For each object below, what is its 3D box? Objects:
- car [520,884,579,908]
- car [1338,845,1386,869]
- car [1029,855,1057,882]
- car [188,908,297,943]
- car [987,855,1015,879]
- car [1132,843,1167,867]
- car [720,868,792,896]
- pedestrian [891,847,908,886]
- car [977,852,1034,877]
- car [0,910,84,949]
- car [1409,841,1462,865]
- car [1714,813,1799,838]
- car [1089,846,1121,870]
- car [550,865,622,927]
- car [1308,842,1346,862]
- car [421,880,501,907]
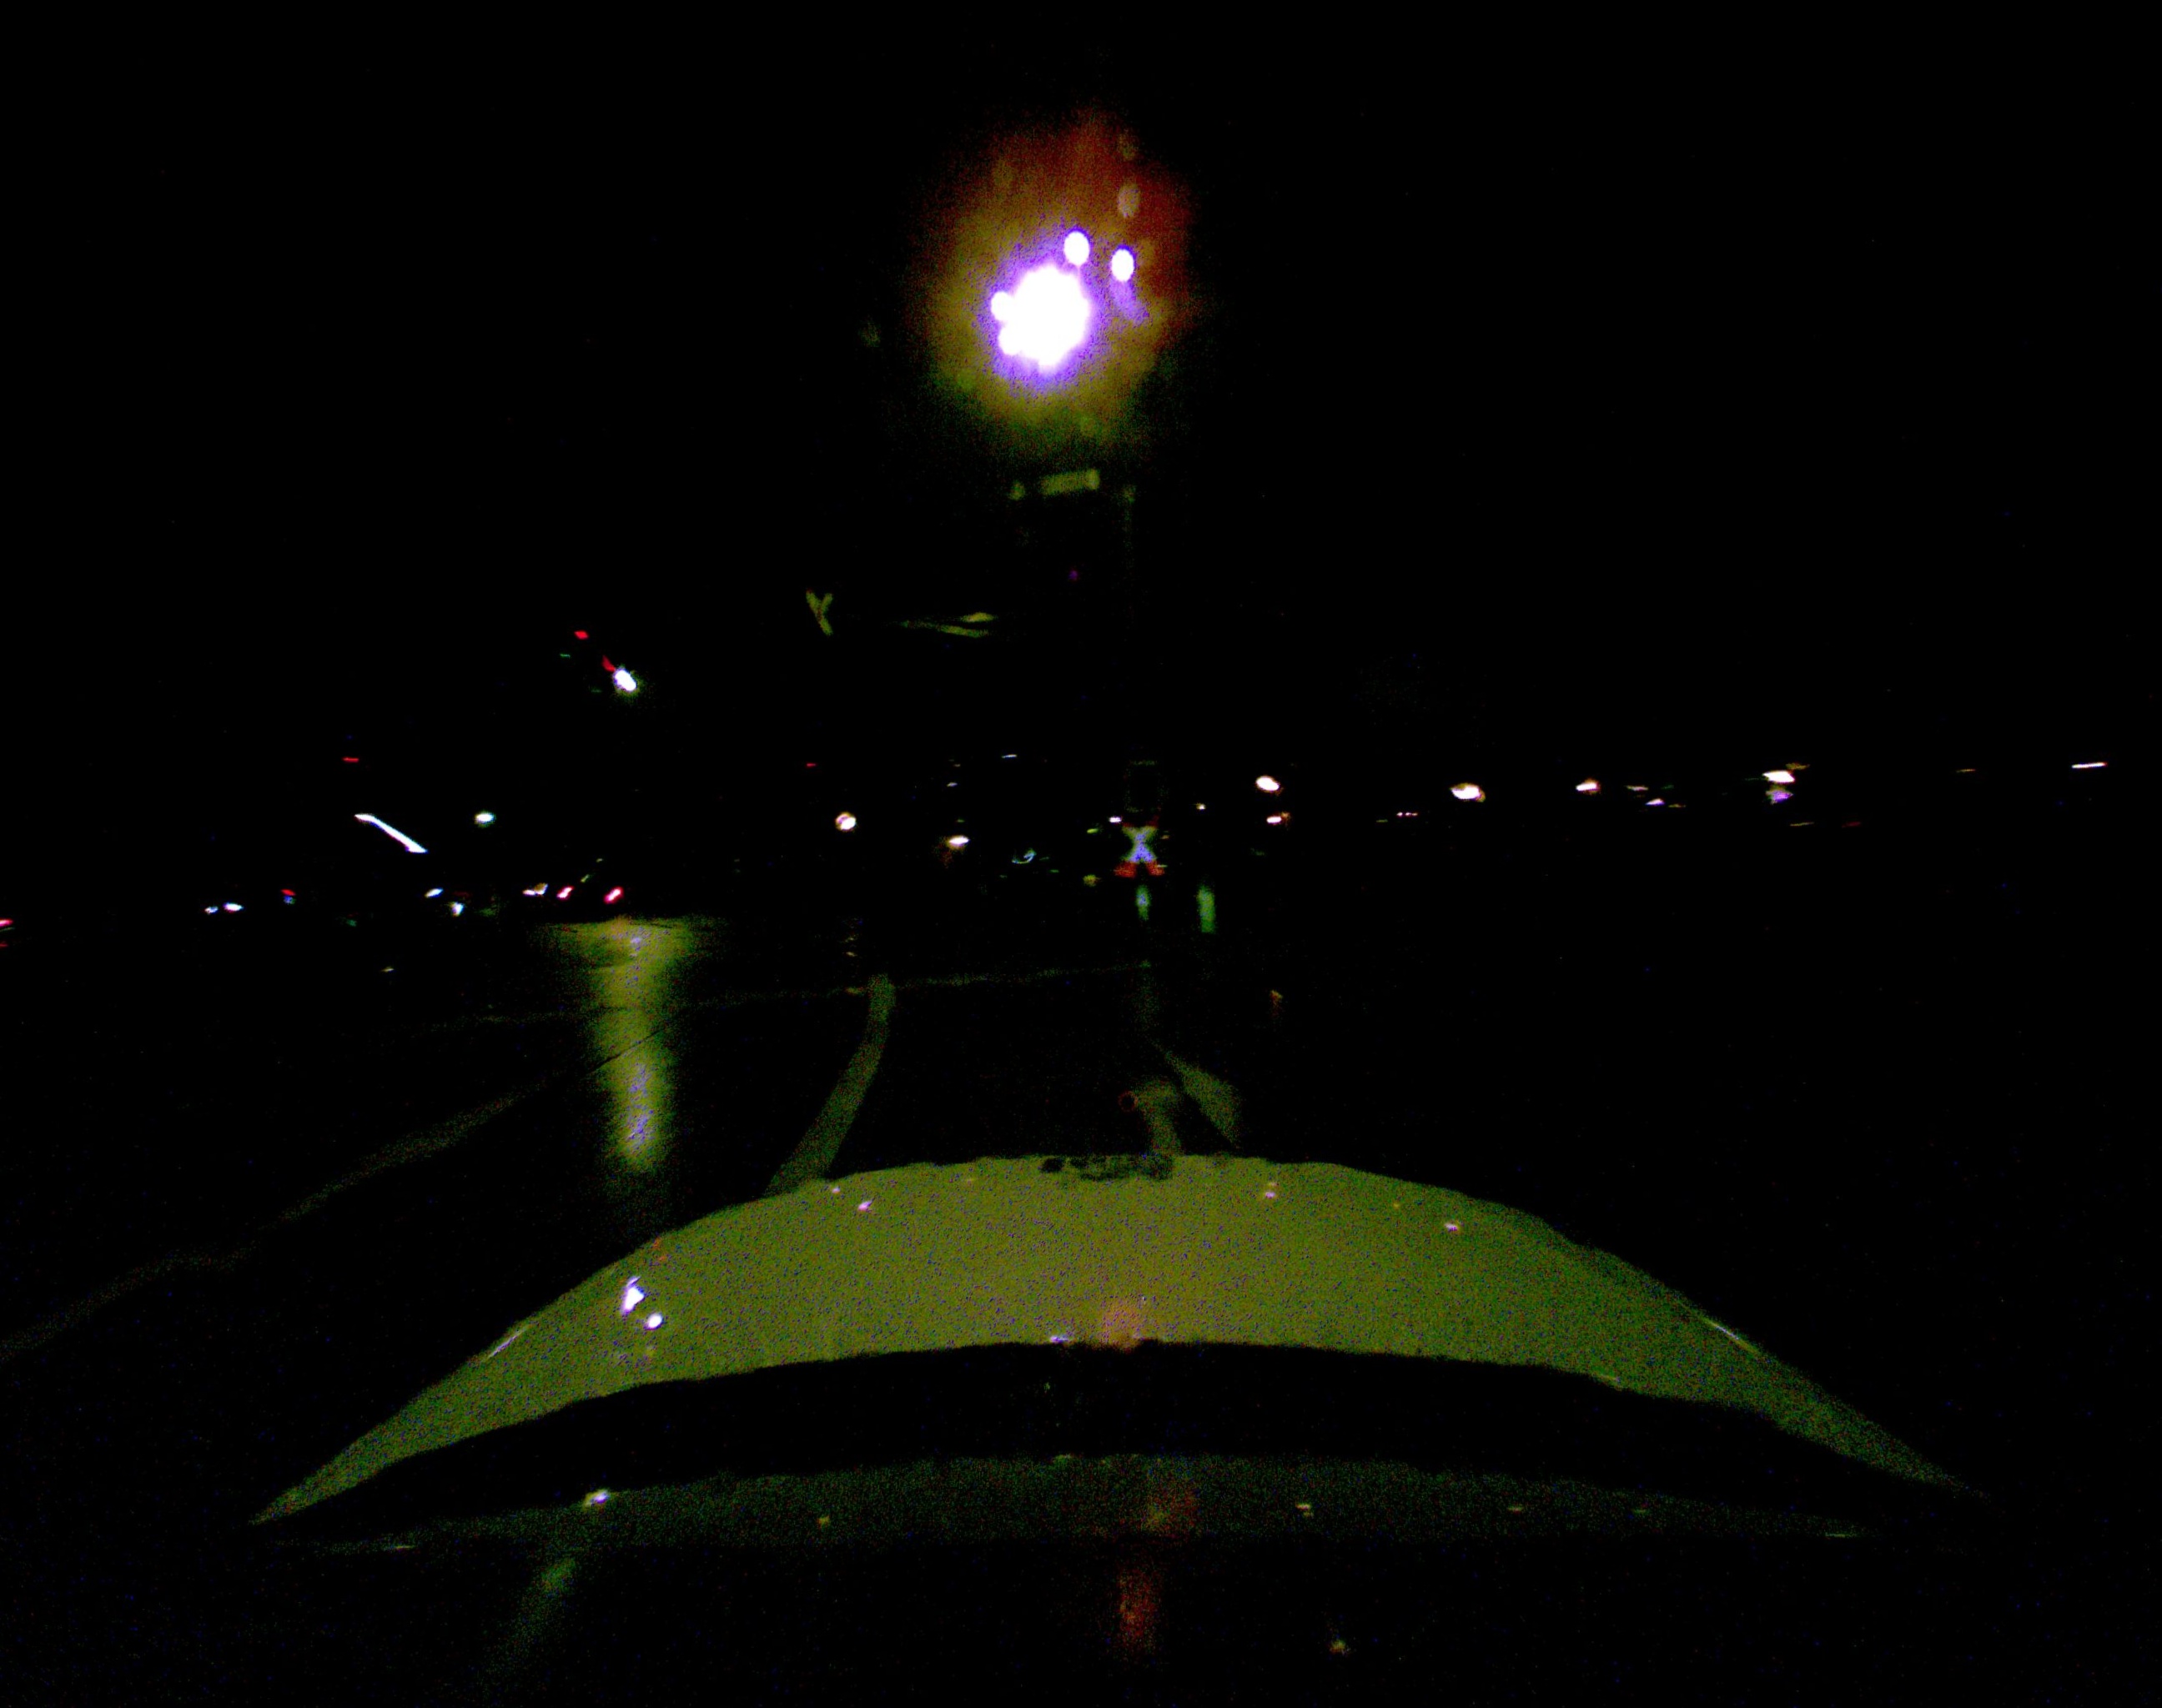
[{"bbox_3d":[-45.775,3.598,70.212,1.863,1.758,4.400,-2,-1,5],"label":"car"},{"bbox_3d":[19.273,0.241,56.020,1.713,1.536,3.906,-2,-1,-4],"label":"car"},{"bbox_3d":[-2.553,1.008,53.859,1.713,1.497,3.905,-3,-4,-4],"label":"car"},{"bbox_3d":[-47.868,4.077,46.599,1.844,1.640,3.906,-2,-1,14],"label":"car"},{"bbox_3d":[-5.283,0.845,54.154,1.713,1.497,3.906,-2,-1,-4],"label":"car"},{"bbox_3d":[4.573,0.069,54.688,1.713,1.536,3.906,-2,-1,-4],"label":"car"},{"bbox_3d":[-21.619,1.836,54.323,3.968,1.684,1.921,-2,-1,4],"label":"car"},{"bbox_3d":[-8.921,0.626,40.003,0.654,1.902,0.724,-1,-1,-21],"label":"pedestrian"},{"bbox_3d":[-5.562,0.797,60.165,4.045,1.682,1.790,-2,-1,-3],"label":"car"},{"bbox_3d":[-49.082,3.507,37.391,1.575,1.584,4.026,-2,-1,34],"label":"car"},{"bbox_3d":[24.340,-0.054,56.104,1.713,1.536,3.906,-2,-1,-4],"label":"car"},{"bbox_3d":[48.304,-2.020,58.403,1.713,1.536,4.988,-2,-1,-4],"label":"car"},{"bbox_3d":[1.561,0.284,54.489,1.713,1.497,3.906,-2,-1,-4],"label":"car"},{"bbox_3d":[-17.915,1.458,29.394,2.008,2.014,4.509,-1,-1,-34],"label":"car"},{"bbox_3d":[20.350,-0.127,67.484,1.713,1.536,3.906,-2,-1,-4],"label":"car"},{"bbox_3d":[-46.110,2.889,60.736,1.982,1.736,4.630,-2,-1,8],"label":"car"}]
